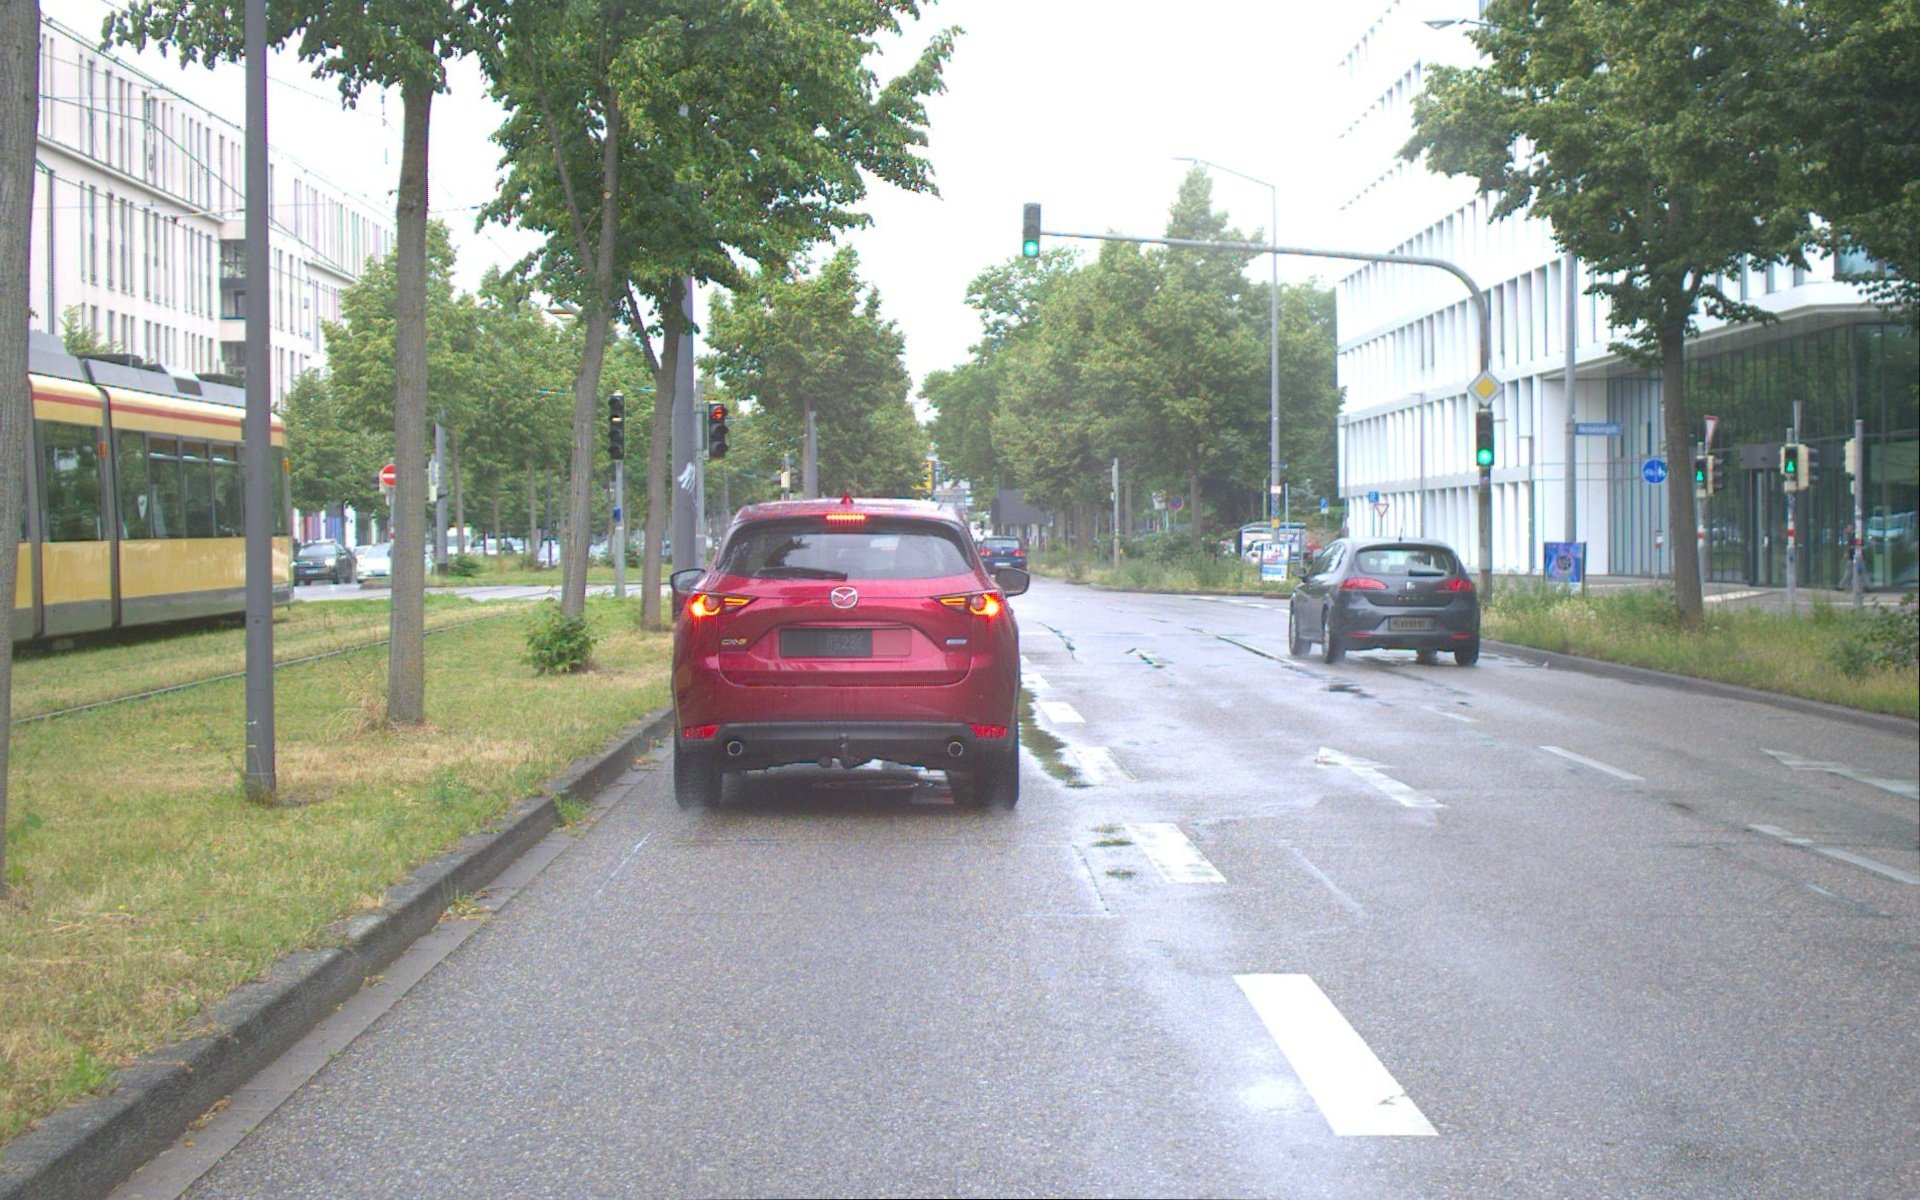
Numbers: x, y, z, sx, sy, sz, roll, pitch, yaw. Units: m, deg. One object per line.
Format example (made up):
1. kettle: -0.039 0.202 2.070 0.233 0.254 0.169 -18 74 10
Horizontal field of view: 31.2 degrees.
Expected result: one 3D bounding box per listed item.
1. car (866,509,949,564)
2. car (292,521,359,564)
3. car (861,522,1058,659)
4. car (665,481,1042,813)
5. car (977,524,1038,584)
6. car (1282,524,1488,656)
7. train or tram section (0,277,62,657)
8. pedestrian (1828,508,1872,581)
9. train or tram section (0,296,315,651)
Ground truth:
1. car: -1.485 -1.768 95.103 1.967 1.432 4.553 1 1 -5
2. car: -24.373 -2.221 132.131 1.993 1.612 4.001 0 1 -2
3. car: 0.043 -0.149 38.764 1.960 1.460 3.781 0 1 4
4. car: -0.581 0.193 19.351 1.898 1.671 4.000 0 1 -1
5. car: 1.627 -1.611 118.656 1.993 2.007 4.000 0 1 -1
6. car: 4.886 -0.151 39.984 1.743 1.460 3.782 0 1 -3
7. train or tram section: -10.738 -1.174 28.699 3.129 3.646 13.408 0 1 -1
8. pedestrian: 21.044 -1.321 81.253 0.783 1.701 0.678 1 2 39
9. train or tram section: -10.925 -1.488 42.863 3.129 3.646 15.065 0 1 -1
